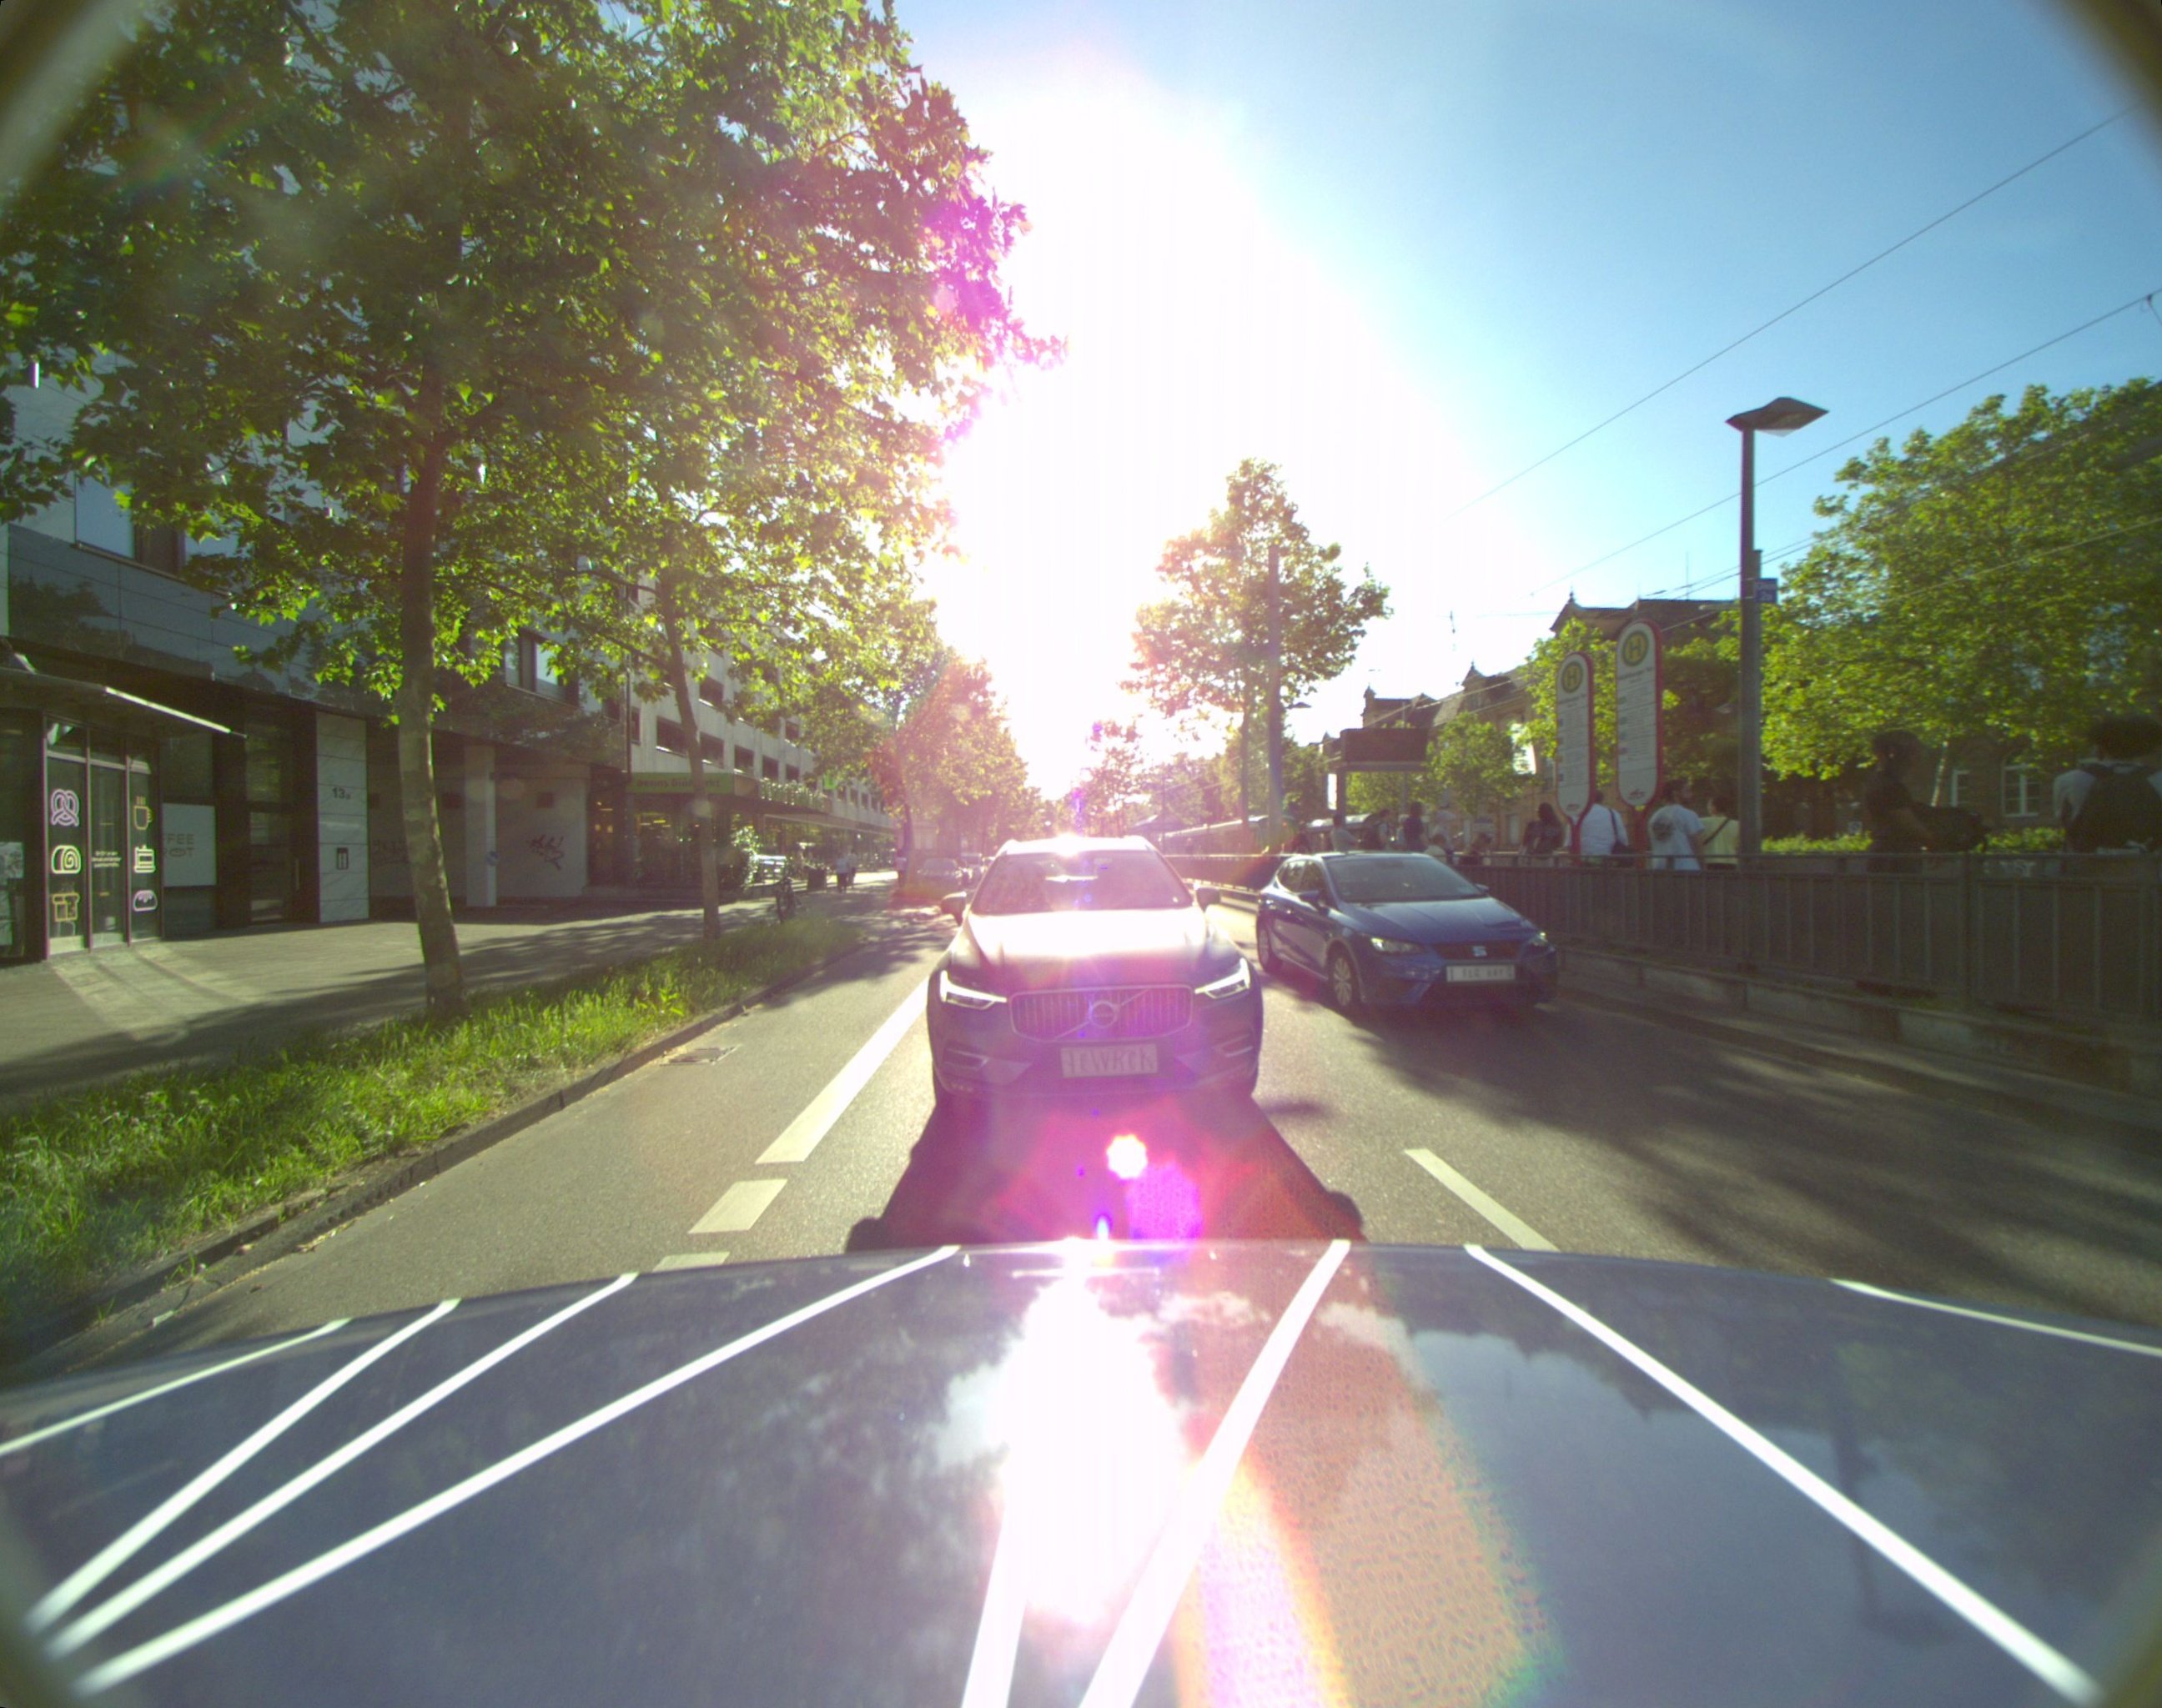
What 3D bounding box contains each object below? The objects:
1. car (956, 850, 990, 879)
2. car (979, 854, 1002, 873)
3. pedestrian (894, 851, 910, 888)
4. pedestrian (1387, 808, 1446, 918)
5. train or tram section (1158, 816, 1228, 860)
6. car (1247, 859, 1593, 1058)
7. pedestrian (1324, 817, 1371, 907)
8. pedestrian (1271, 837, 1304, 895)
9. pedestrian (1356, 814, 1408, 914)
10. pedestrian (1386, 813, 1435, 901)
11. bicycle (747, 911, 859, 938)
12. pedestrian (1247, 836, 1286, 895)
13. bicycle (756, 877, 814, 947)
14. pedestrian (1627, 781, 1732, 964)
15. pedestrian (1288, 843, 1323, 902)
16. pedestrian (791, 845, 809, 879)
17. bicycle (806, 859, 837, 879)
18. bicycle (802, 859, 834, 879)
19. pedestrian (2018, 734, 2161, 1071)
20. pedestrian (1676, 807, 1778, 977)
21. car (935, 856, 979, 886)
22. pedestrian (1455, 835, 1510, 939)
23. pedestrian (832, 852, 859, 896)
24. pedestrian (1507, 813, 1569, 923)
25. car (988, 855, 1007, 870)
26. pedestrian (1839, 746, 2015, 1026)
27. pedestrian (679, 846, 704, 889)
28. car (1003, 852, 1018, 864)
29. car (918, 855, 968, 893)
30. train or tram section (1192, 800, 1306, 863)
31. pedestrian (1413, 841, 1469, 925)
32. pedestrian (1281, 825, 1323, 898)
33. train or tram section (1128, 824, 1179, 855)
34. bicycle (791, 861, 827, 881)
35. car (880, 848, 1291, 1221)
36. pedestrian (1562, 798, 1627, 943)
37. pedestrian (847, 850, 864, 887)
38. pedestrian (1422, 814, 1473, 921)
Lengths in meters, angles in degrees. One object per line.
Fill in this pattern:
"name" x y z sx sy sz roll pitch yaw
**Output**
"car" -7.062 0.673 49.896 1.769 1.781 4.392 0 0 -3
"car" -7.778 0.792 65.533 1.678 1.430 3.688 2 1 -4
"pedestrian" -8.368 0.707 35.602 0.561 1.694 1.051 0 1 -3
"pedestrian" 5.269 0.144 11.950 0.662 1.686 0.570 0 1 -2
"train or tram section" 9.890 -1.321 69.987 2.879 3.414 18.269 -2 0 -3
"car" 3.023 0.812 7.751 1.707 1.407 3.874 -2 0 -1
"pedestrian" 4.912 0.144 14.020 0.662 1.624 0.570 0 1 -2
"pedestrian" 4.688 0.264 17.306 0.535 1.292 0.604 0 1 -6
"pedestrian" 5.153 0.168 13.032 0.662 1.686 0.570 0 1 -2
"pedestrian" 6.269 0.050 14.485 0.620 1.640 0.622 0 1 -7
"bicycle" -5.115 1.296 14.126 1.613 0.351 1.388 0 0 -3
"pedestrian" 4.846 0.291 19.888 0.778 1.501 0.751 0 1 -6
"bicycle" -5.375 1.014 13.881 0.791 1.126 1.843 0 0 -16
"pedestrian" 5.765 0.170 7.348 0.507 1.692 0.611 0 1 -7
"pedestrian" 4.794 0.396 16.268 0.535 1.239 0.604 0 1 -5
"pedestrian" -14.341 0.412 38.773 0.614 1.705 0.611 6 -1 -27
"bicycle" -14.548 0.811 42.574 1.700 1.049 0.587 2 0 24
"bicycle" -14.405 0.826 41.606 1.700 1.049 0.587 1 -1 24
"pedestrian" 5.641 0.249 4.156 0.548 1.724 0.541 0 1 40
"pedestrian" 6.916 0.389 8.159 0.555 1.760 0.611 0 1 -7
"car" -6.500 0.855 40.249 1.766 1.410 4.698 -2 0 -4
"pedestrian" 5.154 0.413 9.775 0.417 1.308 0.507 0 1 -5
"pedestrian" -8.770 0.730 28.337 0.699 1.603 0.868 1 1 -1
"pedestrian" 6.425 0.192 10.695 0.546 1.510 0.530 0 1 -3
"car" -8.301 0.801 75.976 1.630 1.433 3.929 1 0 -3
"pedestrian" 5.511 0.195 4.975 0.549 1.724 0.539 0 1 -7
"pedestrian" -15.636 0.533 30.500 0.559 1.668 0.882 2 1 -4
"car" -9.948 0.586 106.968 1.839 1.556 4.272 -2 0 -3
"car" -6.021 0.839 33.499 1.569 1.541 3.999 -1 1 -2
"train or tram section" 10.762 -1.277 51.757 2.857 3.414 18.208 -2 0 -3
"pedestrian" 5.217 0.410 11.020 0.546 1.185 0.530 0 1 -3
"pedestrian" 5.368 0.172 18.484 0.778 1.742 0.723 0 1 -6
"train or tram section" 6.478 -1.255 70.741 2.570 2.517 15.067 -1 0 -3
"bicycle" -13.396 0.839 37.399 1.648 0.911 0.587 1 -2 24
"car" -0.074 0.831 5.745 1.914 1.695 4.272 -2 1 -3
"pedestrian" 6.235 0.188 9.226 0.613 1.692 0.505 -1 1 -40
"pedestrian" -10.458 0.664 35.251 0.561 1.734 0.878 0 1 -3
"pedestrian" 5.943 0.212 12.344 0.516 1.698 0.621 0 1 -3
